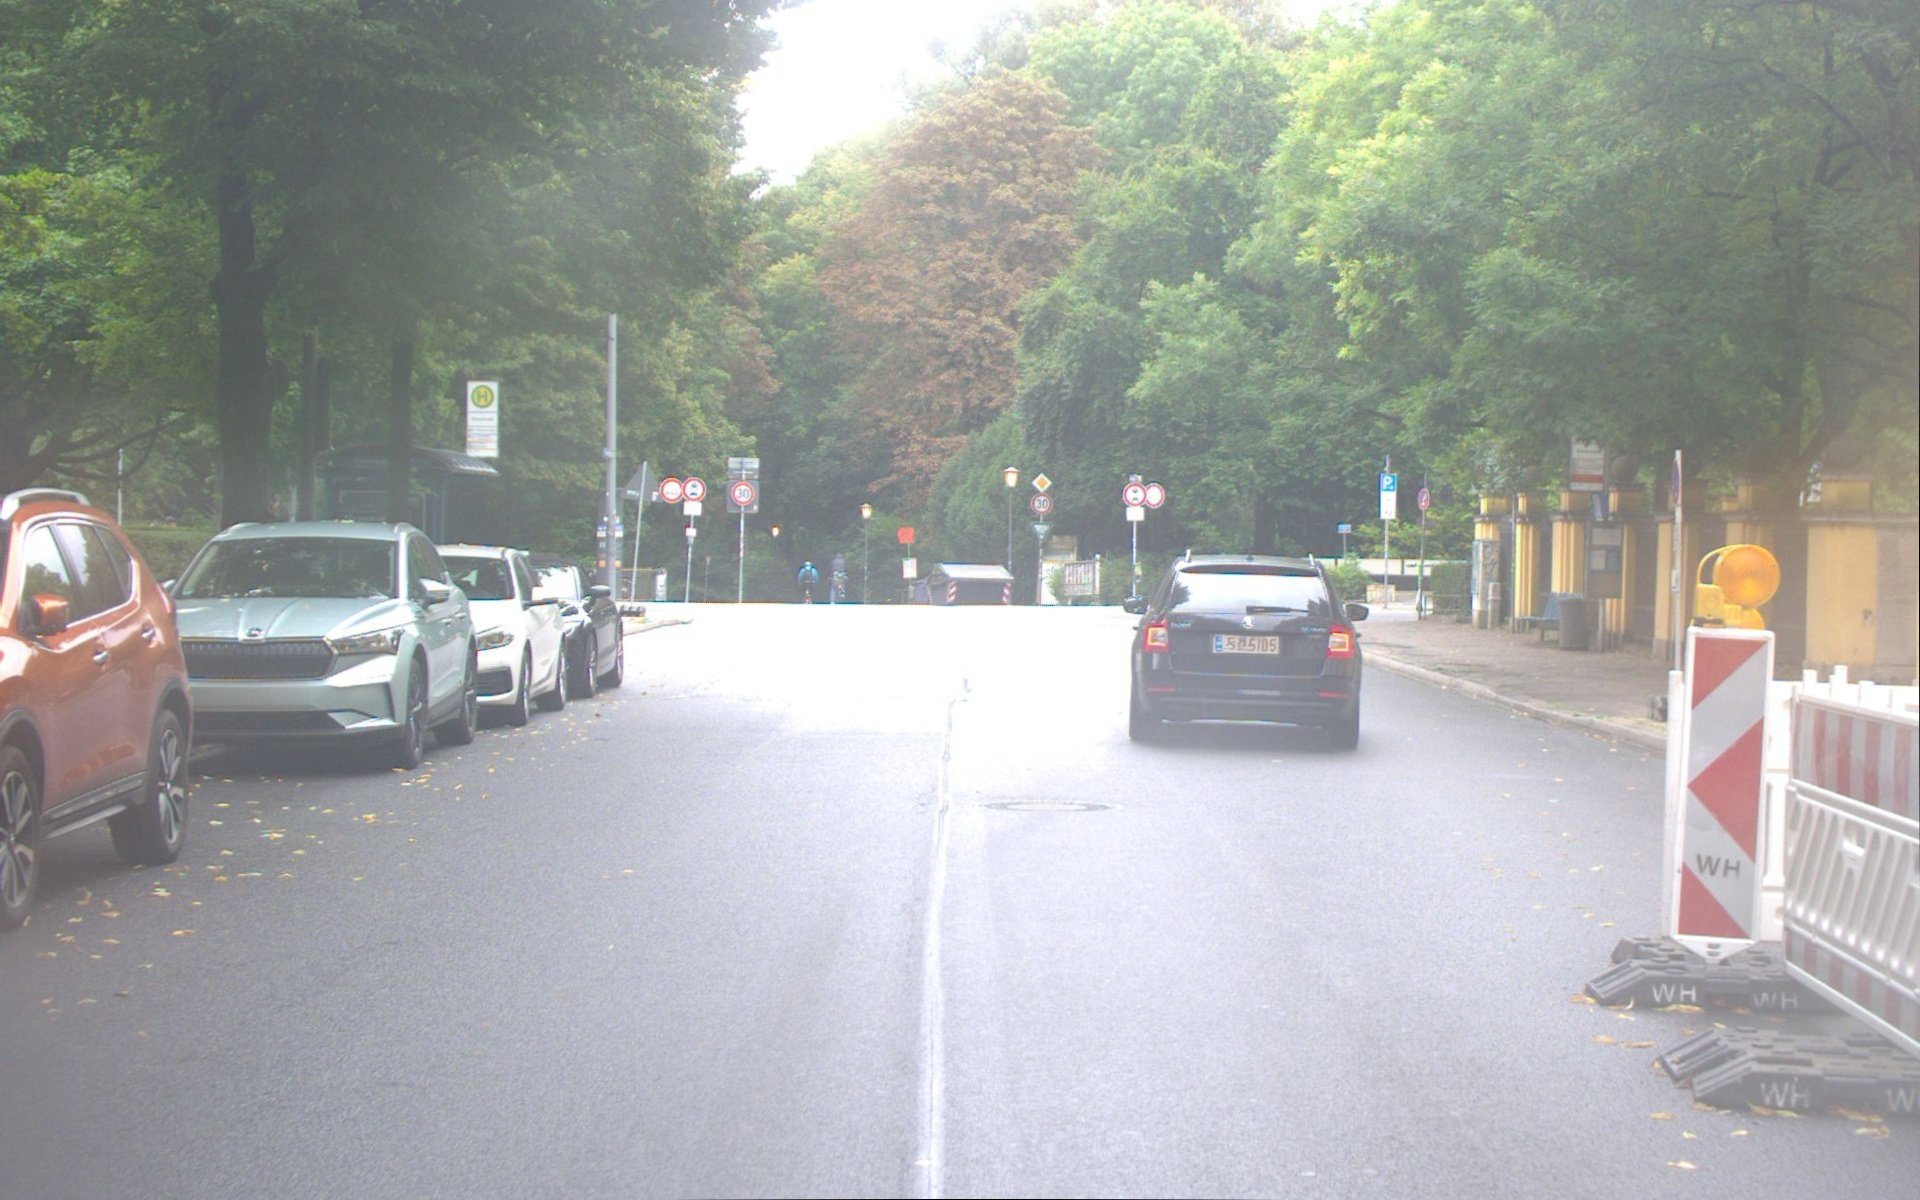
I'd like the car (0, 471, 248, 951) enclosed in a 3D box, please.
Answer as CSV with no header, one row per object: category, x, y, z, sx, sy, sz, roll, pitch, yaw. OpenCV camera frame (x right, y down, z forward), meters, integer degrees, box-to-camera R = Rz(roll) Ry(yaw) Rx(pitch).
car,-4.365,0.359,14.124,1.872,1.722,4.641,1,1,0

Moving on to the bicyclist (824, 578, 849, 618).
bicyclist,-3.740,-0.053,104.292,0.680,1.183,0.481,1,1,-10

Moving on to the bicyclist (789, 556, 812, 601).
bicyclist,-5.459,-0.736,117.739,0.680,1.499,0.901,1,1,-9

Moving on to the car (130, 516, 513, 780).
car,-4.219,0.261,23.405,1.815,1.596,4.514,1,1,-1

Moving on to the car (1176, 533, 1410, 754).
car,2.544,0.286,26.982,1.577,1.578,4.044,1,1,2

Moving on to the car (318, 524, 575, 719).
car,-4.250,0.139,28.986,1.577,1.492,4.199,1,1,-1

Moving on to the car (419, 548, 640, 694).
car,-4.227,0.171,34.265,1.577,1.338,4.044,1,1,1

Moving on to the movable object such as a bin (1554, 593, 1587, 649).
movable object such as a bin,8.640,0.301,48.658,0.397,0.778,0.465,1,1,2

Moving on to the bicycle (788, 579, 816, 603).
bicycle,-5.408,-0.311,117.473,0.679,0.827,2.110,1,0,-10
